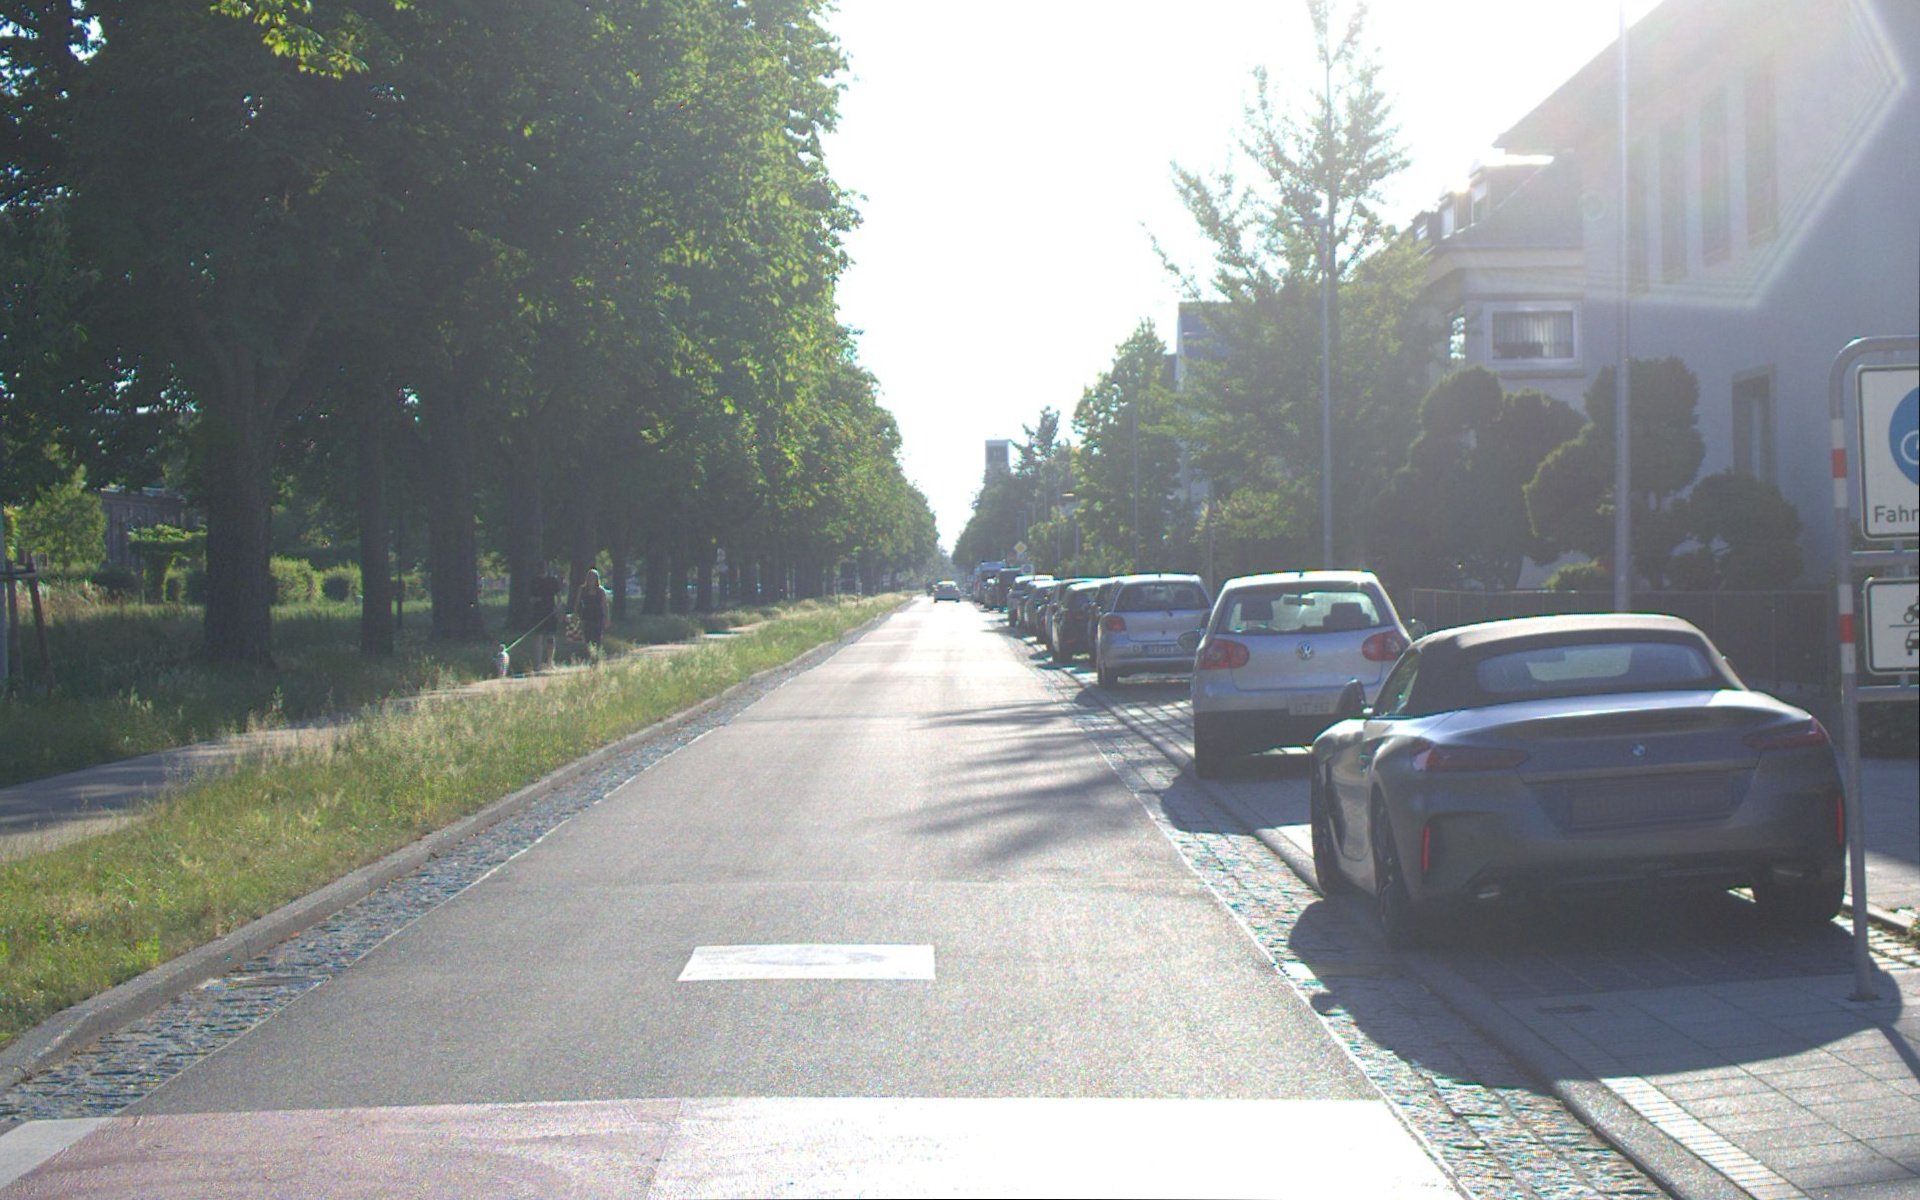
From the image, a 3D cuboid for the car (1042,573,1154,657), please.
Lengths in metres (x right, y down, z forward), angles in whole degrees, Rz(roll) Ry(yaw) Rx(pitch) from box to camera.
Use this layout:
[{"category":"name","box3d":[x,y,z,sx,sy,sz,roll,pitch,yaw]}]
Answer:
[{"category":"car","box3d":[2.501,0.278,63.185,1.736,1.444,4.197,-2,0,-1]}]

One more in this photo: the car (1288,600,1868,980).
[{"category":"car","box3d":[2.578,0.731,15.338,1.774,1.284,4.272,-3,1,0]}]

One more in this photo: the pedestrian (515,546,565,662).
[{"category":"pedestrian","box3d":[-6.675,0.063,54.662,0.624,1.825,0.886,0,0,3]}]

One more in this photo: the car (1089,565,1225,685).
[{"category":"car","box3d":[2.650,0.312,46.796,1.628,1.499,3.633,-2,1,1]}]

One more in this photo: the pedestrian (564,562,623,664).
[{"category":"pedestrian","box3d":[-5.843,0.202,54.828,0.783,1.609,0.952,0,0,4]}]

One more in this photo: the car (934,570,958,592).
[{"category":"car","box3d":[-0.997,-1.344,242.211,1.652,1.536,3.266,1,0,0]}]

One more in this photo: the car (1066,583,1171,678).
[{"category":"car","box3d":[2.692,0.497,57.770,1.658,1.489,3.715,-2,0,4]}]

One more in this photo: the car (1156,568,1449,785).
[{"category":"car","box3d":[2.596,0.546,26.868,1.744,1.469,3.922,-3,0,-1]}]

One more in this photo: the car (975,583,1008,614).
[{"category":"car","box3d":[1.646,-0.074,176.780,1.652,1.536,3.266,1,0,1]}]

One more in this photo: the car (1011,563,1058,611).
[{"category":"car","box3d":[2.489,-0.446,115.032,1.498,1.561,3.266,-1,0,1]}]

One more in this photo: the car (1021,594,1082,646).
[{"category":"car","box3d":[2.549,0.538,95.875,1.652,1.392,3.266,-1,0,1]}]

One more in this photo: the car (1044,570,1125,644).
[{"category":"car","box3d":[2.621,0.137,72.929,1.592,1.505,3.591,-1,0,1]}]
